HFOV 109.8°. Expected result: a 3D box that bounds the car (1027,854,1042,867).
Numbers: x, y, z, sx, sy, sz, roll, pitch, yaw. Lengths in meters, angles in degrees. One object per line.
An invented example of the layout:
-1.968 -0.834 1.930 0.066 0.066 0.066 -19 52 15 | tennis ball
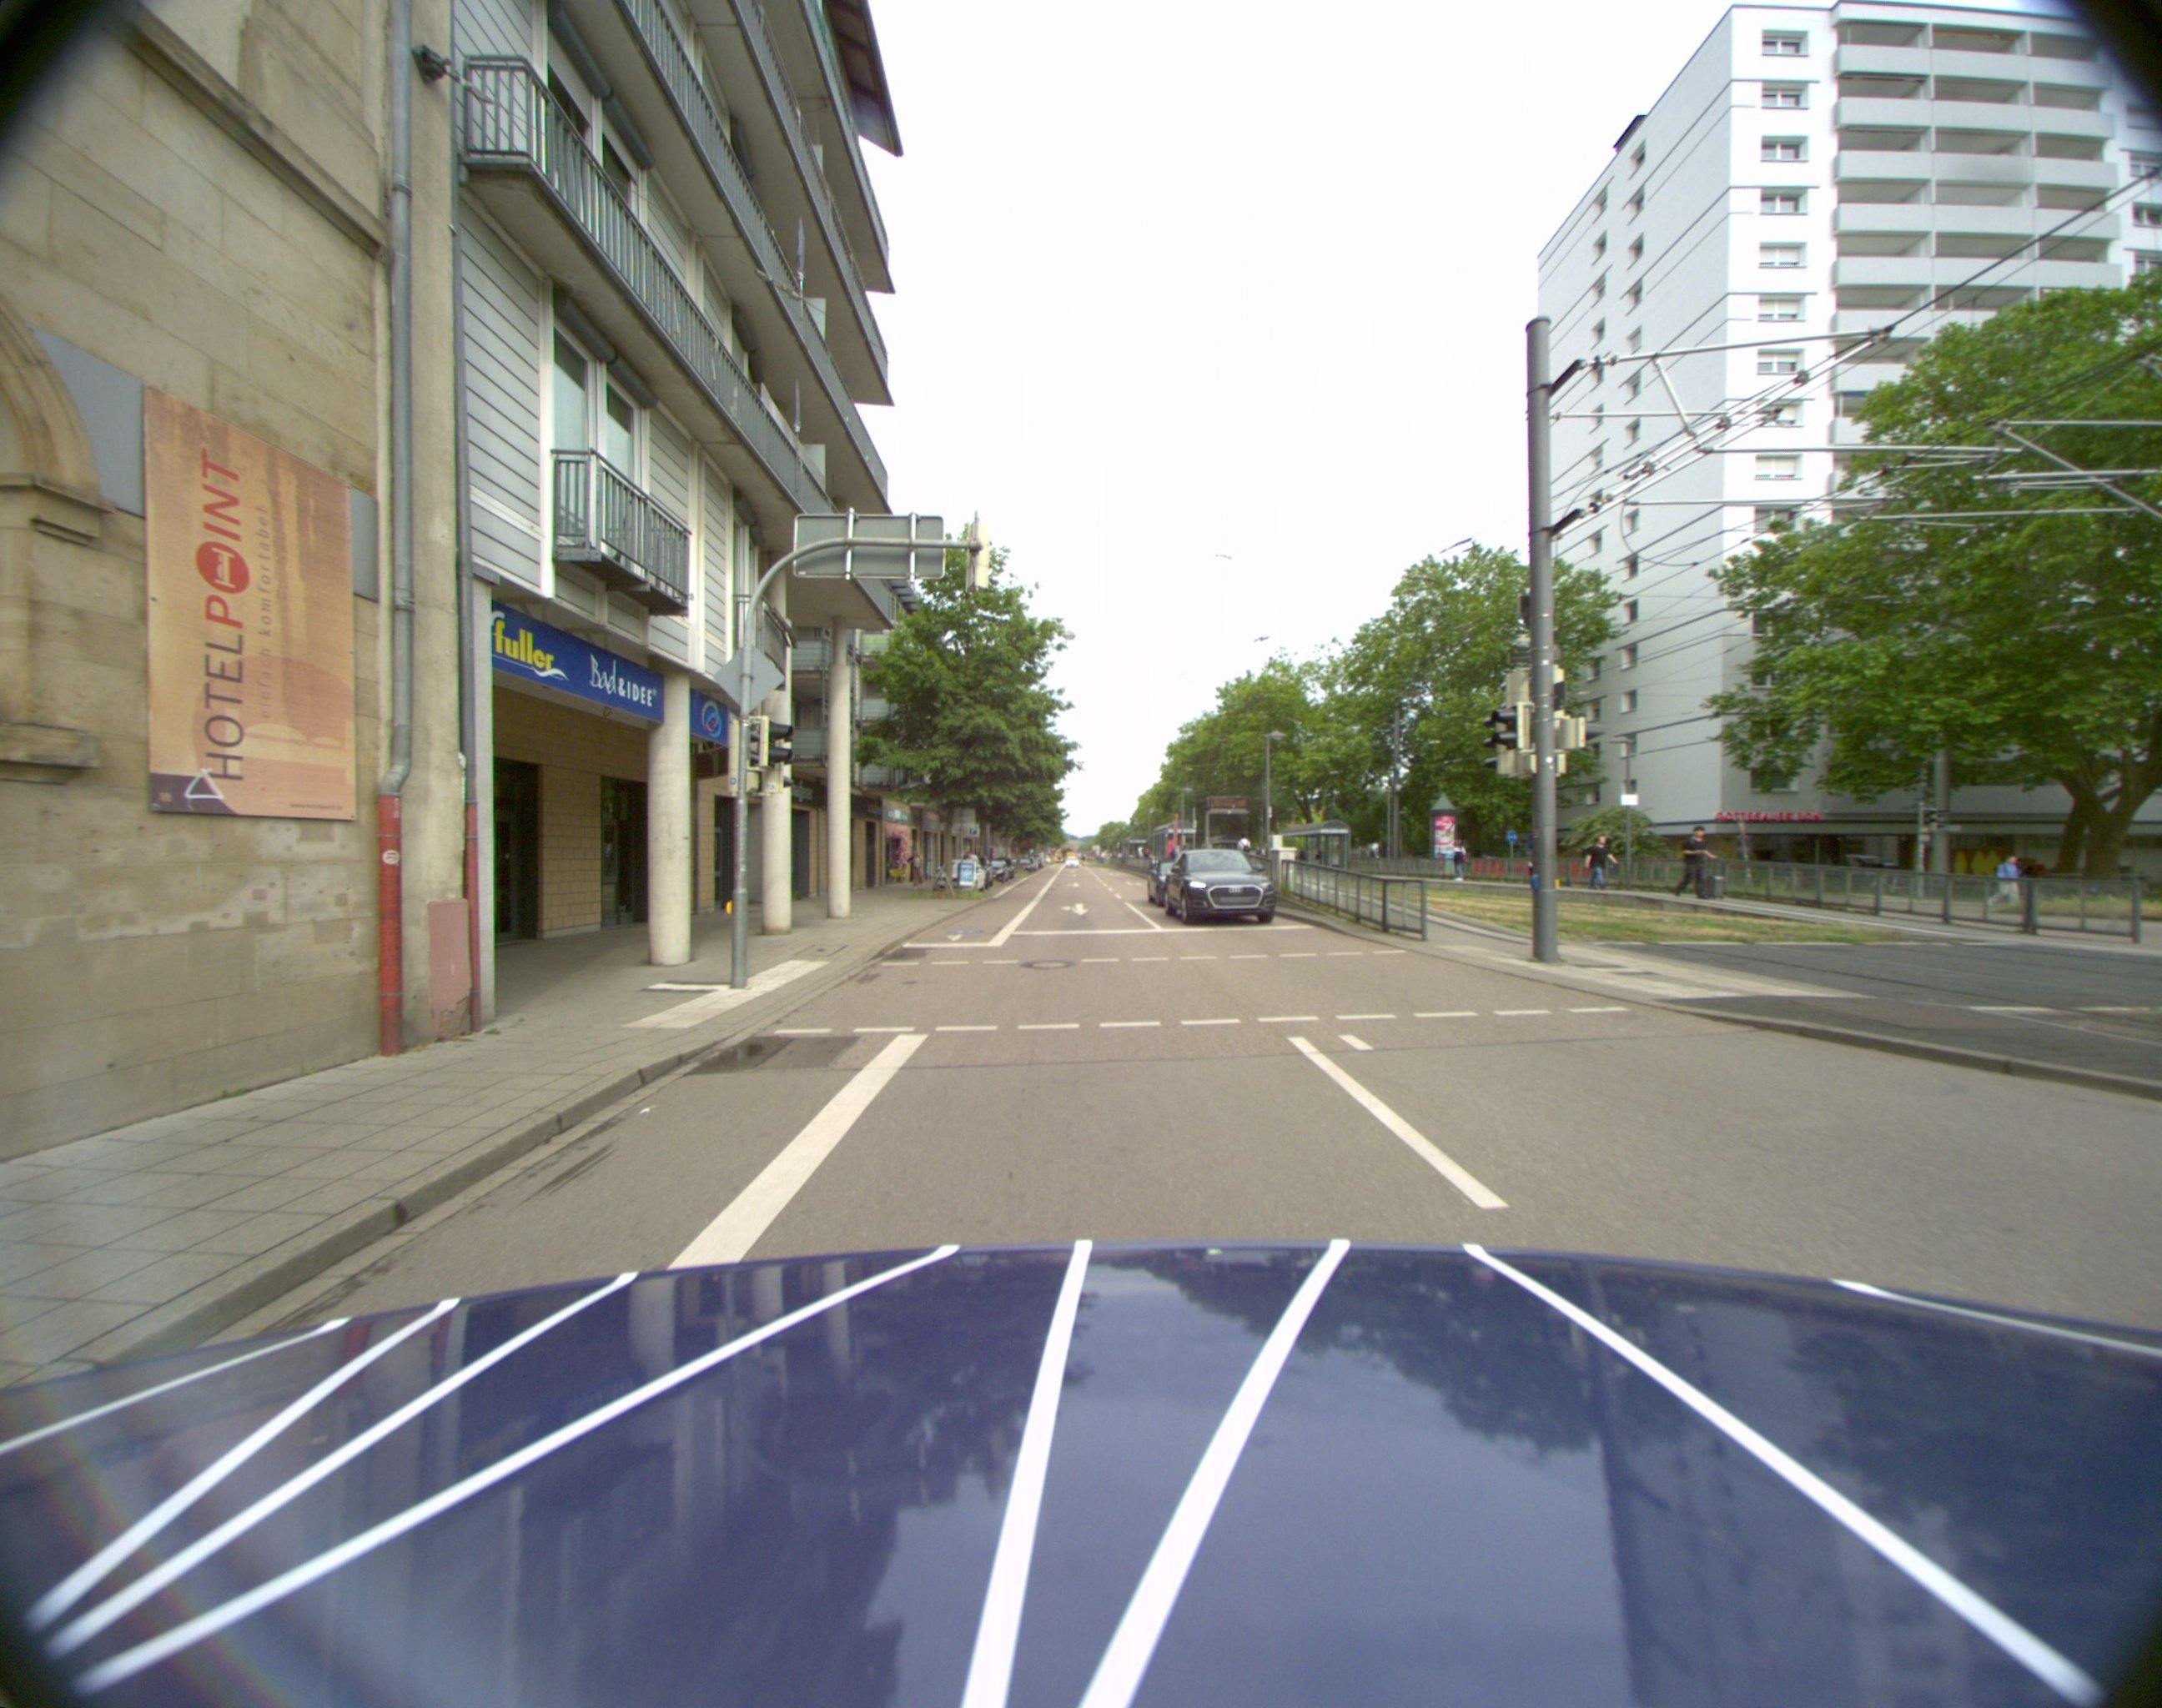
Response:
-6.007 0.832 98.913 1.730 1.675 3.815 1 0 0 | car

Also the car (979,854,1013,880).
-5.330 0.791 48.047 1.685 1.536 3.942 1 0 0 | car

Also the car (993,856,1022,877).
-5.339 0.894 55.432 1.730 1.375 3.815 1 0 0 | car

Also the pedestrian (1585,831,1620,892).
15.306 0.222 22.295 0.622 1.741 0.548 -1 1 0 | pedestrian

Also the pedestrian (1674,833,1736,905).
15.016 0.348 18.313 0.742 1.685 0.879 -1 1 0 | pedestrian

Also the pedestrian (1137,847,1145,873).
4.783 0.461 60.293 0.585 2.038 0.821 -1 1 3 | pedestrian

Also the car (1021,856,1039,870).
-5.590 0.976 83.192 1.730 1.375 3.815 1 0 0 | car

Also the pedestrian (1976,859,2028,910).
28.022 0.923 23.119 0.554 1.500 0.854 -1 1 4 | pedestrian

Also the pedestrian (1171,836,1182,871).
5.659 -0.042 45.063 0.585 2.038 0.821 -1 1 3 | pedestrian

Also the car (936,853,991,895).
-5.102 0.830 33.417 1.730 1.652 4.103 2 0 0 | car

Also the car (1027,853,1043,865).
-5.671 0.588 93.748 1.730 1.375 3.815 1 0 0 | car

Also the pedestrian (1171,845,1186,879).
5.135 0.412 40.059 0.683 1.781 0.821 -1 1 3 | pedestrian

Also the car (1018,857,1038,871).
-5.348 0.987 76.397 1.730 1.375 3.815 1 0 0 | car

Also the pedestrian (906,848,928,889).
-7.422 0.650 34.406 0.745 1.795 0.839 -1 1 -1 | pedestrian

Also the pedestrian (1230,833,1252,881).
5.949 0.103 28.262 0.662 1.741 0.534 -1 1 0 | pedestrian

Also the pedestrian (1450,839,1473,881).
15.659 0.243 31.259 0.622 1.659 0.565 -1 1 0 | pedestrian

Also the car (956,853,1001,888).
-5.154 0.796 38.604 1.730 1.652 3.942 1 0 0 | car

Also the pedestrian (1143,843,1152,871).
5.024 0.218 57.063 0.585 2.038 0.821 -1 1 3 | pedestrian

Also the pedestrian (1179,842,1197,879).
5.250 0.309 37.332 0.661 1.781 0.535 -1 1 39 | pedestrian

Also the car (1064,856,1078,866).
-1.302 0.932 104.375 1.865 1.339 3.815 1 0 0 | car

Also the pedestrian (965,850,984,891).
-5.045 0.793 36.102 0.652 1.922 0.644 -1 1 15 | pedestrian

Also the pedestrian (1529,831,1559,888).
14.788 0.182 24.284 0.622 1.779 0.534 -1 1 0 | pedestrian

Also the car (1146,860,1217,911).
3.055 0.911 23.767 1.637 1.367 4.013 -1 0 0 | car

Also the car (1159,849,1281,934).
2.983 0.731 17.231 1.916 1.637 4.367 -1 0 0 | car
